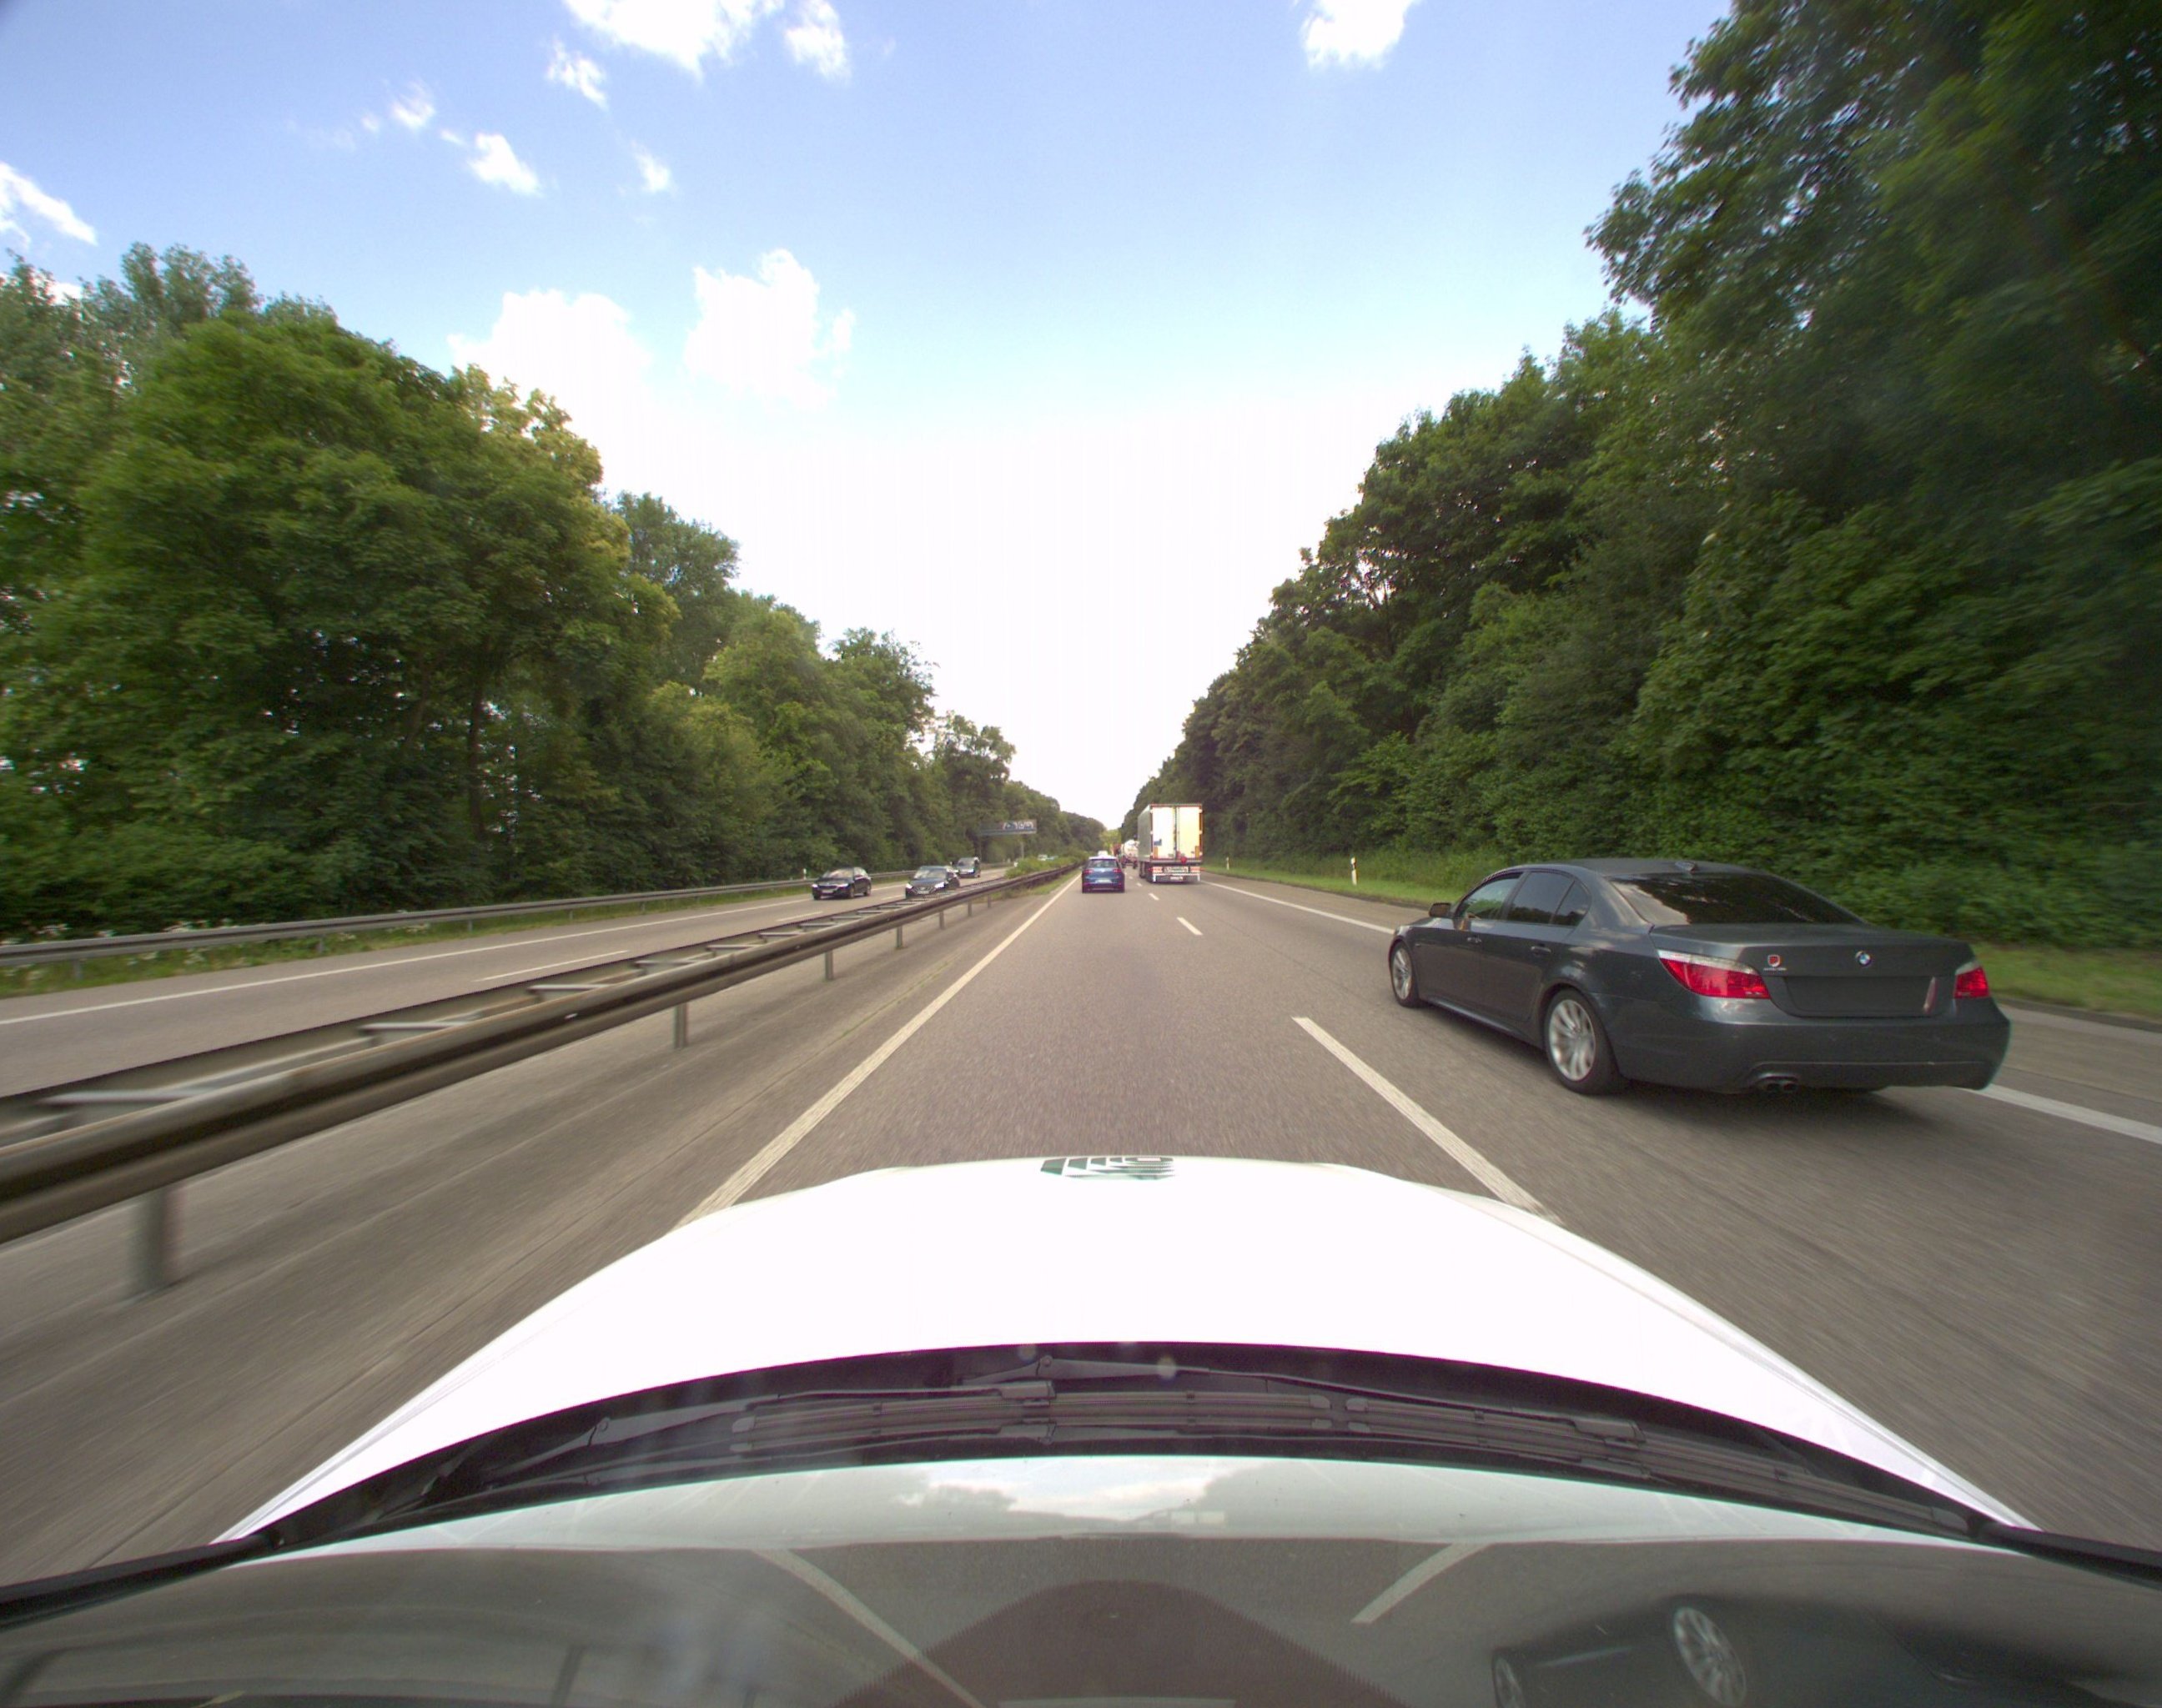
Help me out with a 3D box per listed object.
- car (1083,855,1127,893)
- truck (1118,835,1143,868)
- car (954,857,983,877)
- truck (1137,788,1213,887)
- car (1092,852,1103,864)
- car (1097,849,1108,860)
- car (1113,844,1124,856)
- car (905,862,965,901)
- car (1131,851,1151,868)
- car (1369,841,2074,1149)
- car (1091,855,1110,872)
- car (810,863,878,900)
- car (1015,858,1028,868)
[{"bbox_3d":[0.980,0.779,33.942,1.699,1.470,4.001,0,0,1],"label":"car"},{"bbox_3d":[6.888,-0.242,114.227,3.219,4.386,12.979,-1,-1,3],"label":"truck"},{"bbox_3d":[-9.792,1.103,71.374,1.754,1.593,4.634,-2,0,1],"label":"car"},{"bbox_3d":[4.953,-0.836,45.123,3.229,4.716,11.014,-2,0,3],"label":"truck"},{"bbox_3d":[3.034,0.711,147.256,1.986,2.013,4.001,-2,0,1],"label":"car"},{"bbox_3d":[4.410,0.177,170.178,1.988,2.255,4.440,-2,0,-1],"label":"car"},{"bbox_3d":[7.880,-0.791,170.115,1.988,2.327,4.440,-2,0,-1],"label":"car"},{"bbox_3d":[-6.404,1.186,36.114,1.774,1.519,4.267,-2,0,1],"label":"car"},{"bbox_3d":[6.195,0.561,84.733,1.881,1.729,4.002,-2,0,2],"label":"car"},{"bbox_3d":[3.964,0.685,6.385,1.768,1.475,4.881,0,0,1],"label":"car"},{"bbox_3d":[1.797,0.818,74.114,1.659,1.500,4.154,-1,0,2],"label":"car"},{"bbox_3d":[-11.221,1.262,38.841,1.674,1.519,4.860,-2,0,1],"label":"car"},{"bbox_3d":[-8.748,1.342,120.450,1.531,1.396,3.512,-2,0,1],"label":"car"}]
